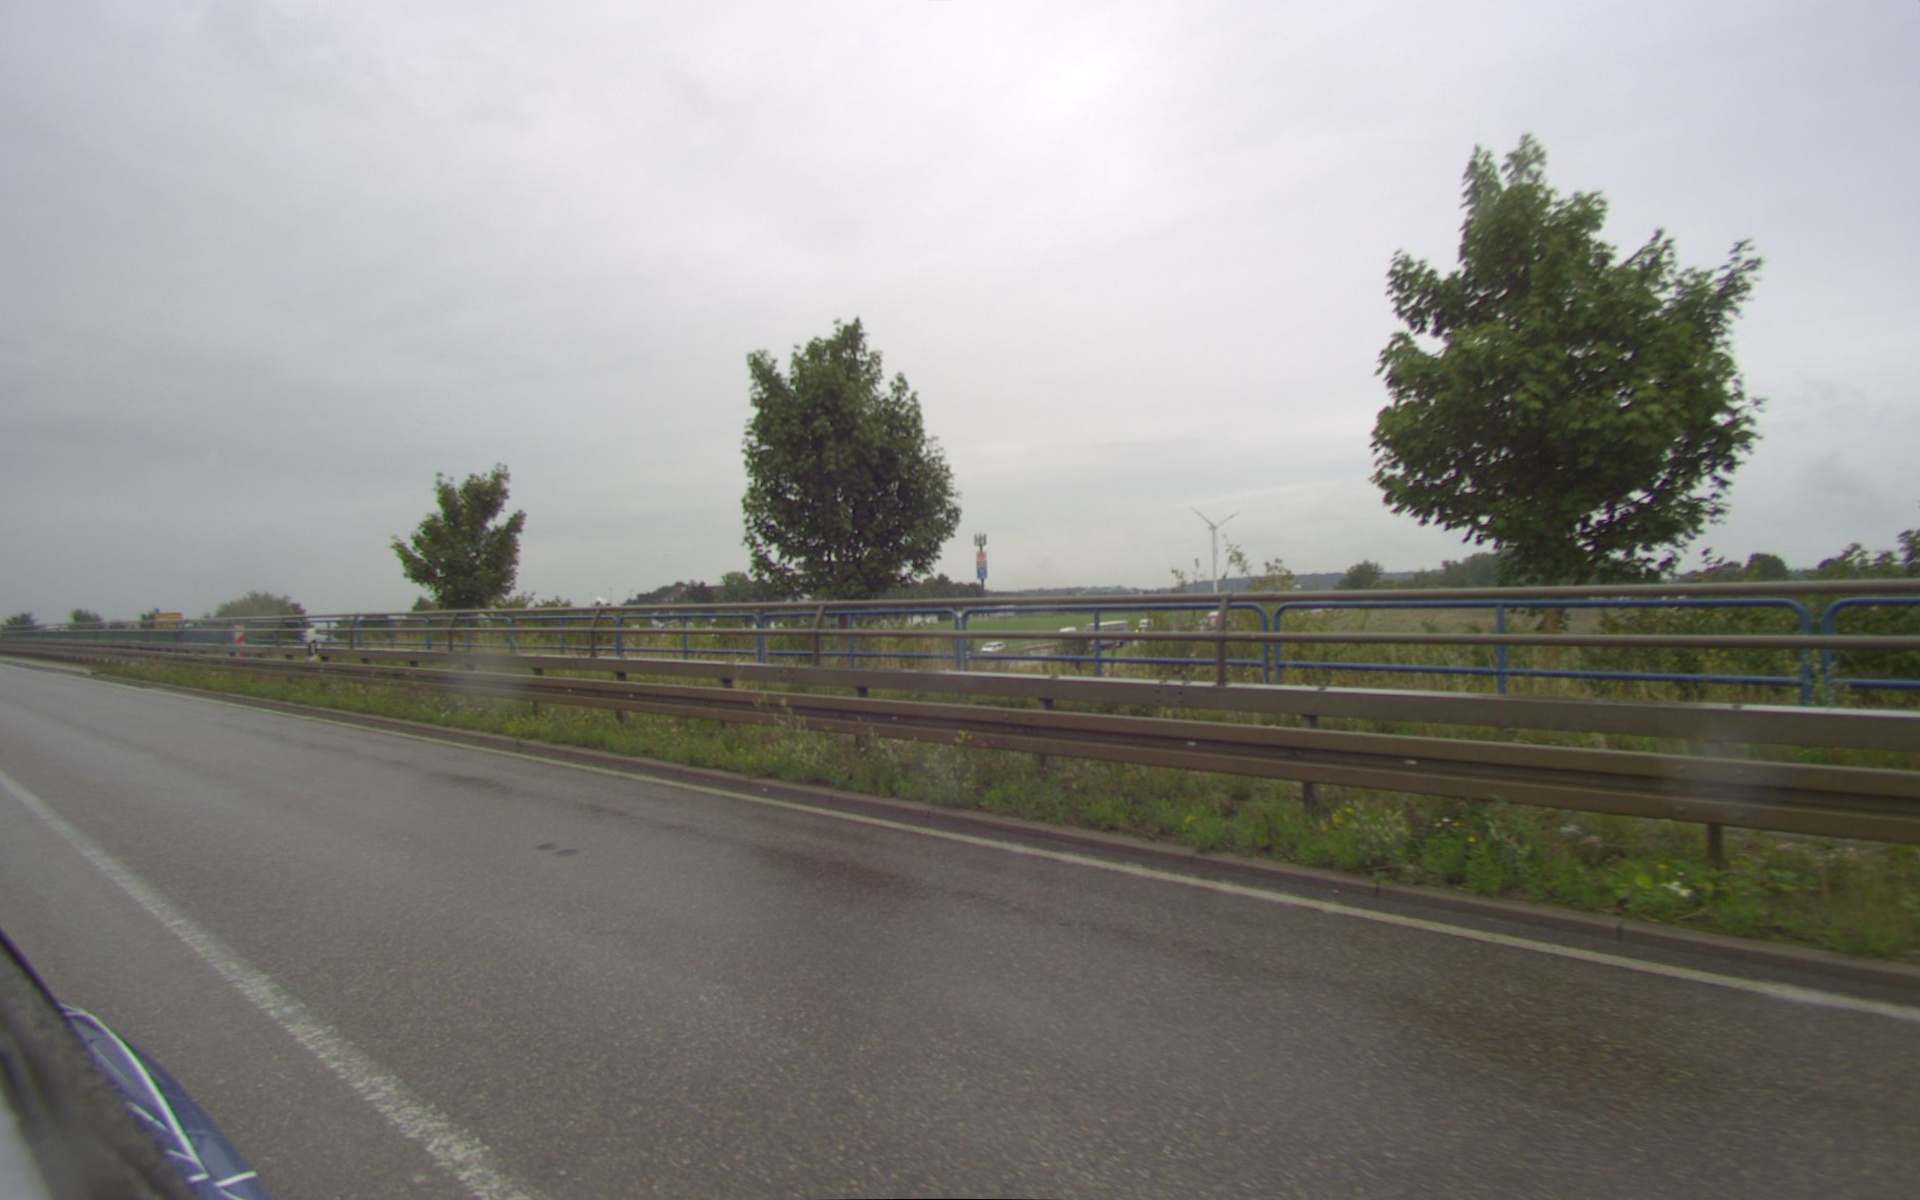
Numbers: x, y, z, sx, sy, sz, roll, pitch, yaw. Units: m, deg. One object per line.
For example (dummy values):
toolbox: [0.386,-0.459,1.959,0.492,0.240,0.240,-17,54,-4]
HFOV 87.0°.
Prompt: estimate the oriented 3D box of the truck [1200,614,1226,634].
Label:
truck: [56.066,5.235,224.166,3.335,3.975,11.426,-1,0,26]

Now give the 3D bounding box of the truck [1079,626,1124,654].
truck: [22.630,6.295,161.713,3.338,3.975,11.417,-1,0,28]
